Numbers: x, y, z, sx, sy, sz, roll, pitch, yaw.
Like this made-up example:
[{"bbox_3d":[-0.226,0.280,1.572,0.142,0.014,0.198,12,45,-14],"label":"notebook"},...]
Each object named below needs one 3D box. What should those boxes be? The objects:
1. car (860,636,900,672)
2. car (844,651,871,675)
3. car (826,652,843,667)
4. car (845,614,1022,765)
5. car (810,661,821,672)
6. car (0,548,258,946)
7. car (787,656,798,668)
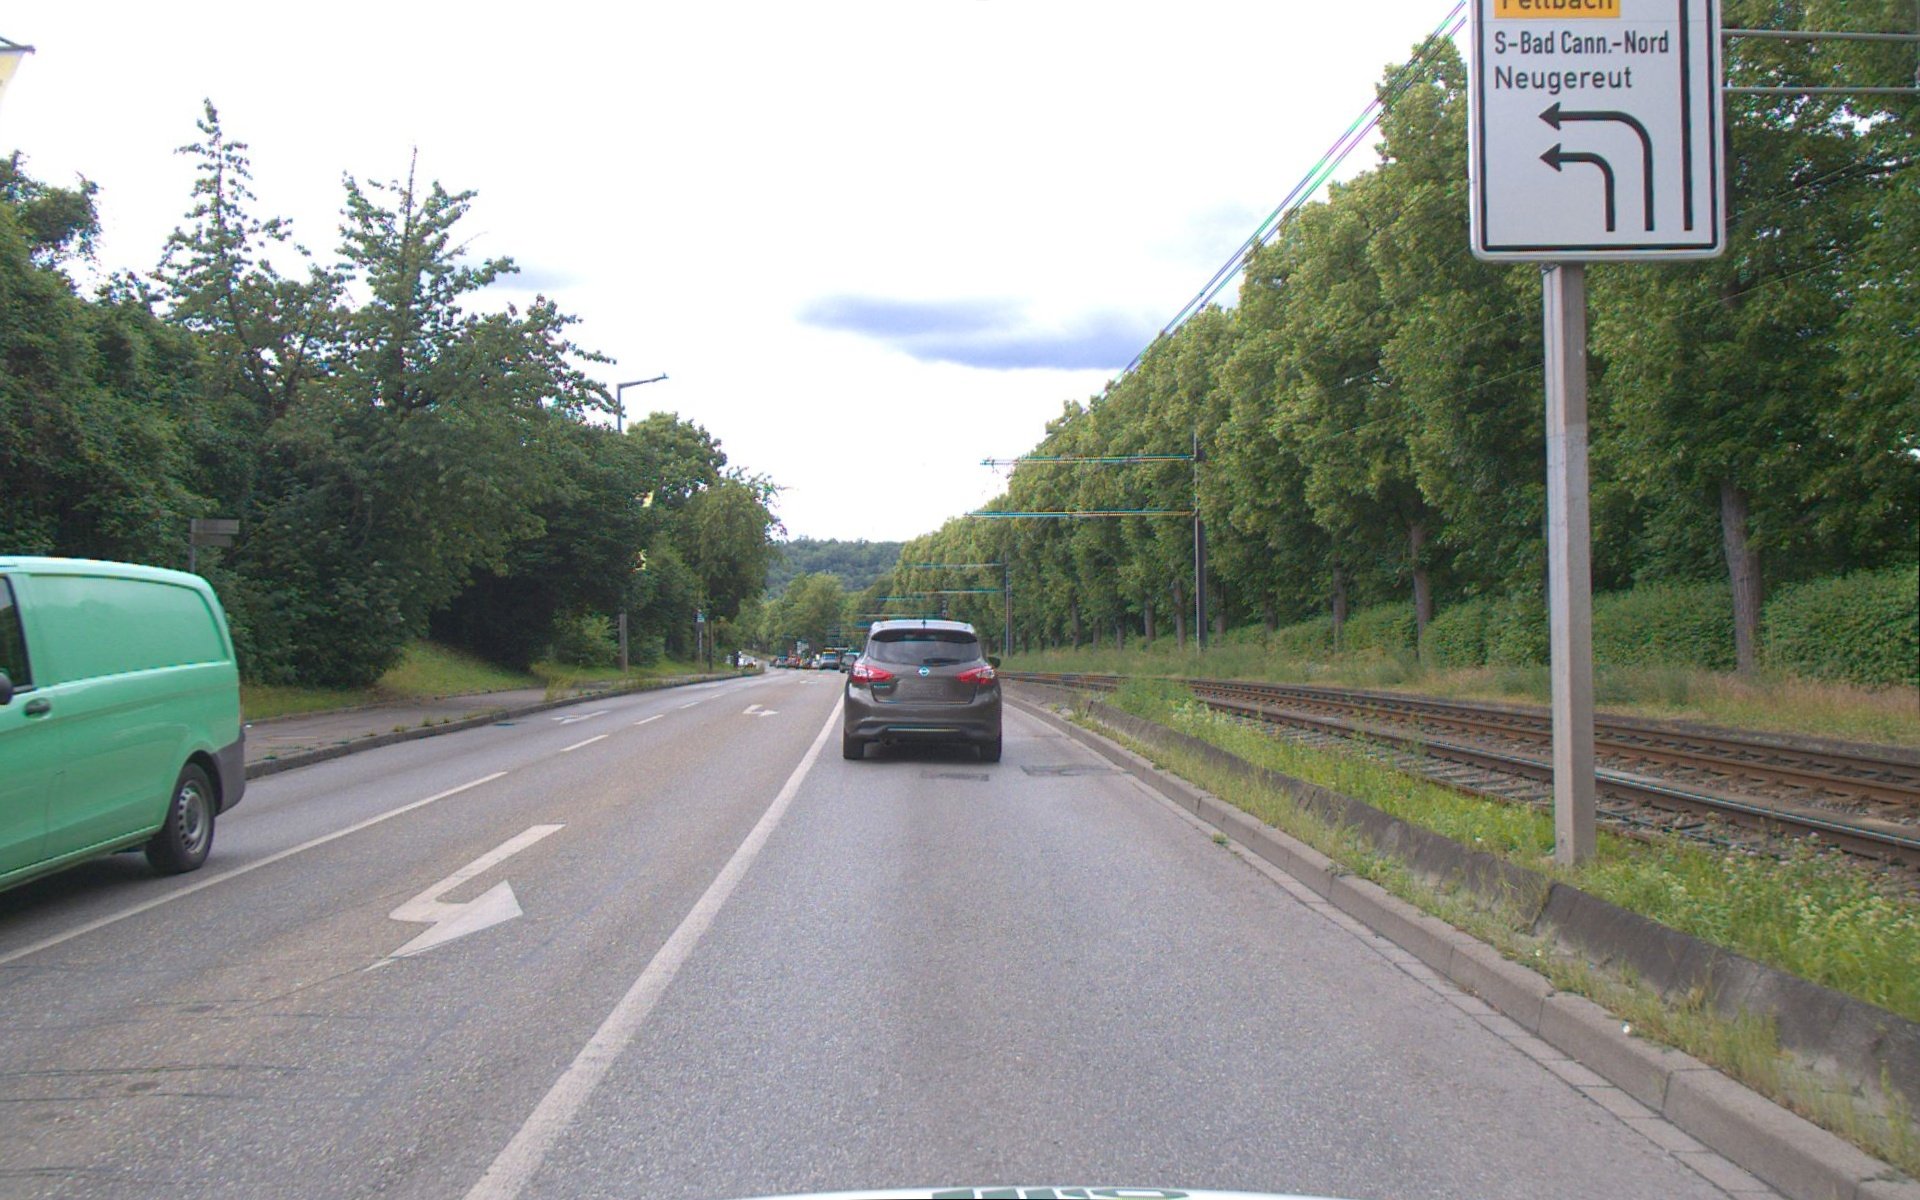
[{"bbox_3d":[-3.466,2.360,71.273,1.666,1.469,3.996,0,-3,-4],"label":"car"},{"bbox_3d":[-6.633,4.085,107.010,1.666,1.469,3.995,0,-3,-4],"label":"car"},{"bbox_3d":[-13.259,6.325,175.136,1.759,1.537,3.995,0,-3,-4],"label":"car"},{"bbox_3d":[-0.332,0.977,19.247,1.813,1.519,3.998,1,-1,-2],"label":"car"},{"bbox_3d":[-21.610,9.950,247.115,1.666,1.502,3.701,0,-3,-5],"label":"car"},{"bbox_3d":[-5.491,0.725,8.314,2.017,1.842,4.727,-2,-1,-2],"label":"car"},{"bbox_3d":[-25.790,9.560,254.975,1.666,1.744,3.995,0,-3,-4],"label":"car"}]
